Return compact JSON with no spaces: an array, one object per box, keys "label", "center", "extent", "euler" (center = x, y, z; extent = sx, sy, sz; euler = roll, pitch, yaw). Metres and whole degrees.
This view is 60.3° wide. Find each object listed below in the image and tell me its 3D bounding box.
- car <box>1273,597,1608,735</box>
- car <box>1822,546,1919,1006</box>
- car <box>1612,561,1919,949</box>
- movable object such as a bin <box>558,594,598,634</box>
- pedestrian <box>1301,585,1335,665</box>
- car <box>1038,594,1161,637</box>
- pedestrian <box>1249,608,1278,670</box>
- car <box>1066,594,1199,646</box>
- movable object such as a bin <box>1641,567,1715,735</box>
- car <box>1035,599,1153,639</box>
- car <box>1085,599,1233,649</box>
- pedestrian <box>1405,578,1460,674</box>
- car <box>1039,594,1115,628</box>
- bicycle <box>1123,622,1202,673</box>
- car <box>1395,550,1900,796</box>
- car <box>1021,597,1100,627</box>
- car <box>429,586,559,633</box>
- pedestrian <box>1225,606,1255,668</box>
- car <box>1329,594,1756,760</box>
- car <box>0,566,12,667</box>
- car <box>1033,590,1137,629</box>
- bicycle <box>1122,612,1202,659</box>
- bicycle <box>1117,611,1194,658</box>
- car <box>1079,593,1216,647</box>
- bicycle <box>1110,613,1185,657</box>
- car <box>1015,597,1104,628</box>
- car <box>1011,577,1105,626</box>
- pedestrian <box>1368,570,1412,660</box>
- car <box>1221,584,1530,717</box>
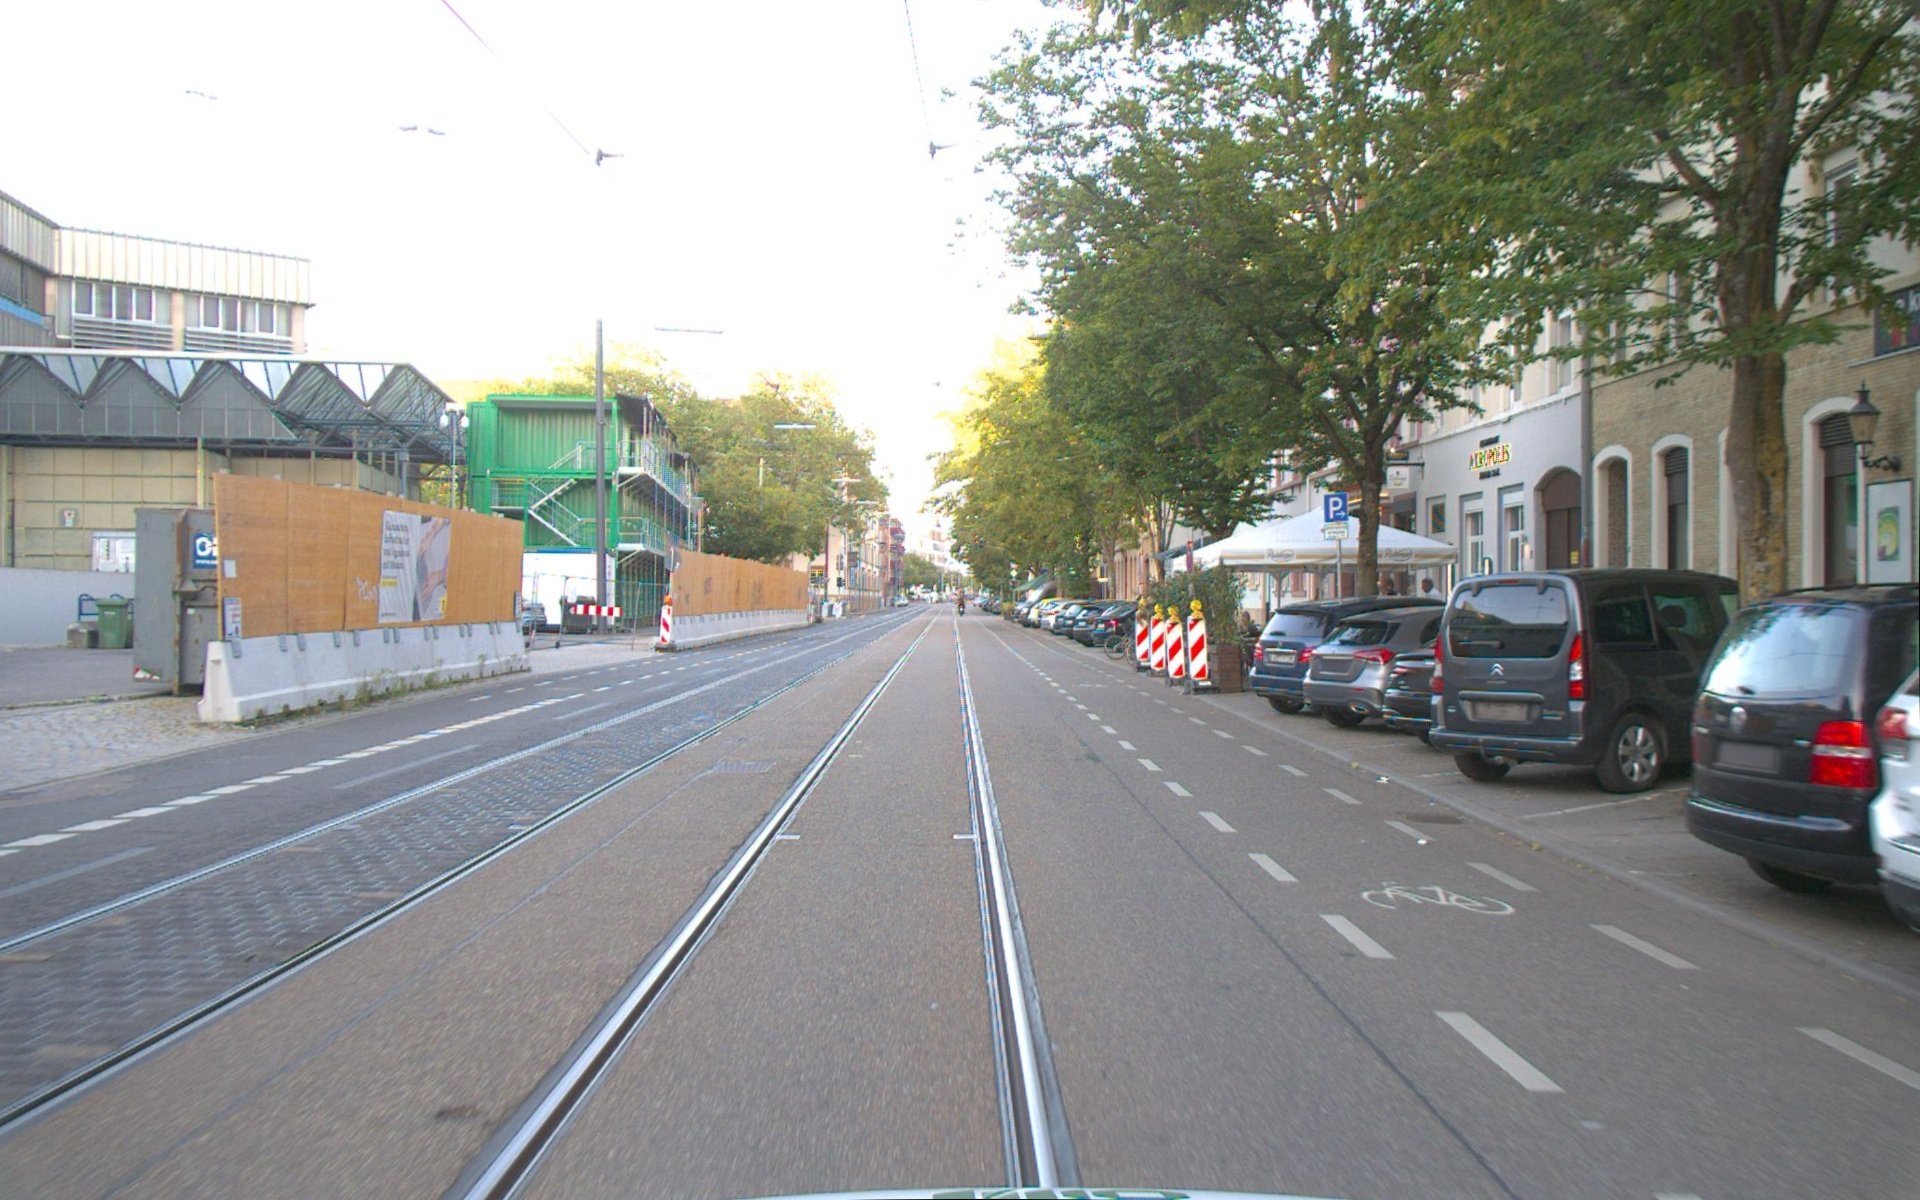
[{"label":"car","center":[5.824,0.745,20.039],"extent":[3.726,1.432,1.692],"euler":[-2,0,-26]},{"label":"car","center":[5.843,0.568,5.812],"extent":[4.555,1.717,2.007],"euler":[-2,0,-1]},{"label":"car","center":[6.128,0.620,8.721],"extent":[4.559,1.717,2.005],"euler":[-2,0,-6]},{"label":"movable object such as a bin","center":[-13.574,0.492,58.793],"extent":[1.280,1.393,0.783],"euler":[0,0,-4]},{"label":"pedestrian","center":[8.064,0.557,37.279],"extent":[0.539,1.794,0.894],"euler":[1,0,-1]},{"label":"car","center":[5.116,0.569,60.703],"extent":[4.063,1.496,2.000],"euler":[1,0,-25]},{"label":"pedestrian","center":[6.601,0.839,35.989],"extent":[0.492,1.315,0.599],"euler":[1,0,-4]},{"label":"car","center":[5.795,0.656,55.599],"extent":[4.051,1.496,1.815],"euler":[-3,0,-17]},{"label":"movable object such as a bin","center":[8.944,0.622,20.611],"extent":[0.600,2.049,0.695],"euler":[0,0,-2]},{"label":"car","center":[5.252,0.737,65.003],"extent":[4.194,1.416,2.000],"euler":[-1,0,-24]},{"label":"car","center":[6.039,0.740,50.256],"extent":[4.099,1.451,1.813],"euler":[1,0,-20]},{"label":"pedestrian","center":[9.004,0.494,31.535],"extent":[0.694,1.794,0.709],"euler":[1,0,-28]},{"label":"car","center":[6.118,0.590,86.758],"extent":[3.869,1.648,1.921],"euler":[-2,-1,0]},{"label":"bicycle","center":[4.507,1.052,36.843],"extent":[1.645,1.049,0.556],"euler":[-3,0,-2]},{"label":"car","center":[6.077,0.543,14.582],"extent":[4.102,1.838,1.988],"euler":[-2,0,-29]},{"label":"car","center":[5.515,0.654,90.522],"extent":[3.899,1.512,1.906],"euler":[-1,-1,-25]},{"label":"car","center":[-16.055,0.307,57.025],"extent":[3.910,1.427,1.737],"euler":[3,0,14]},{"label":"pedestrian","center":[6.069,0.802,35.860],"extent":[0.492,1.315,0.599],"euler":[1,0,-5]},{"label":"car","center":[6.187,0.740,17.518],"extent":[4.258,1.413,1.791],"euler":[-3,0,-26]},{"label":"car","center":[-16.911,0.271,26.034],"extent":[1.956,1.693,4.272],"euler":[1,0,-8]},{"label":"car","center":[5.512,0.420,73.262],"extent":[4.175,1.576,2.014],"euler":[-1,0,-11]},{"label":"bicycle","center":[5.018,0.880,41.177],"extent":[1.849,1.049,0.608],"euler":[-3,0,-2]},{"label":"bicycle","center":[5.031,0.875,42.551],"extent":[1.849,1.086,0.674],"euler":[-3,0,-2]},{"label":"car","center":[6.012,0.639,53.100],"extent":[3.886,1.496,1.992],"euler":[-3,0,-17]},{"label":"bicycle","center":[4.953,0.925,43.740],"extent":[1.865,1.049,0.533],"euler":[-3,0,-2]},{"label":"car","center":[4.988,0.642,83.170],"extent":[4.070,1.450,1.905],"euler":[-1,-1,-26]},{"label":"car","center":[5.639,0.083,95.282],"extent":[5.015,2.689,2.012],"euler":[-2,0,-17]},{"label":"pedestrian","center":[8.760,0.303,33.706],"extent":[0.541,1.794,0.850],"euler":[1,0,-12]},{"label":"car","center":[5.664,0.641,22.514],"extent":[3.913,1.580,1.692],"euler":[-2,0,-26]}]
